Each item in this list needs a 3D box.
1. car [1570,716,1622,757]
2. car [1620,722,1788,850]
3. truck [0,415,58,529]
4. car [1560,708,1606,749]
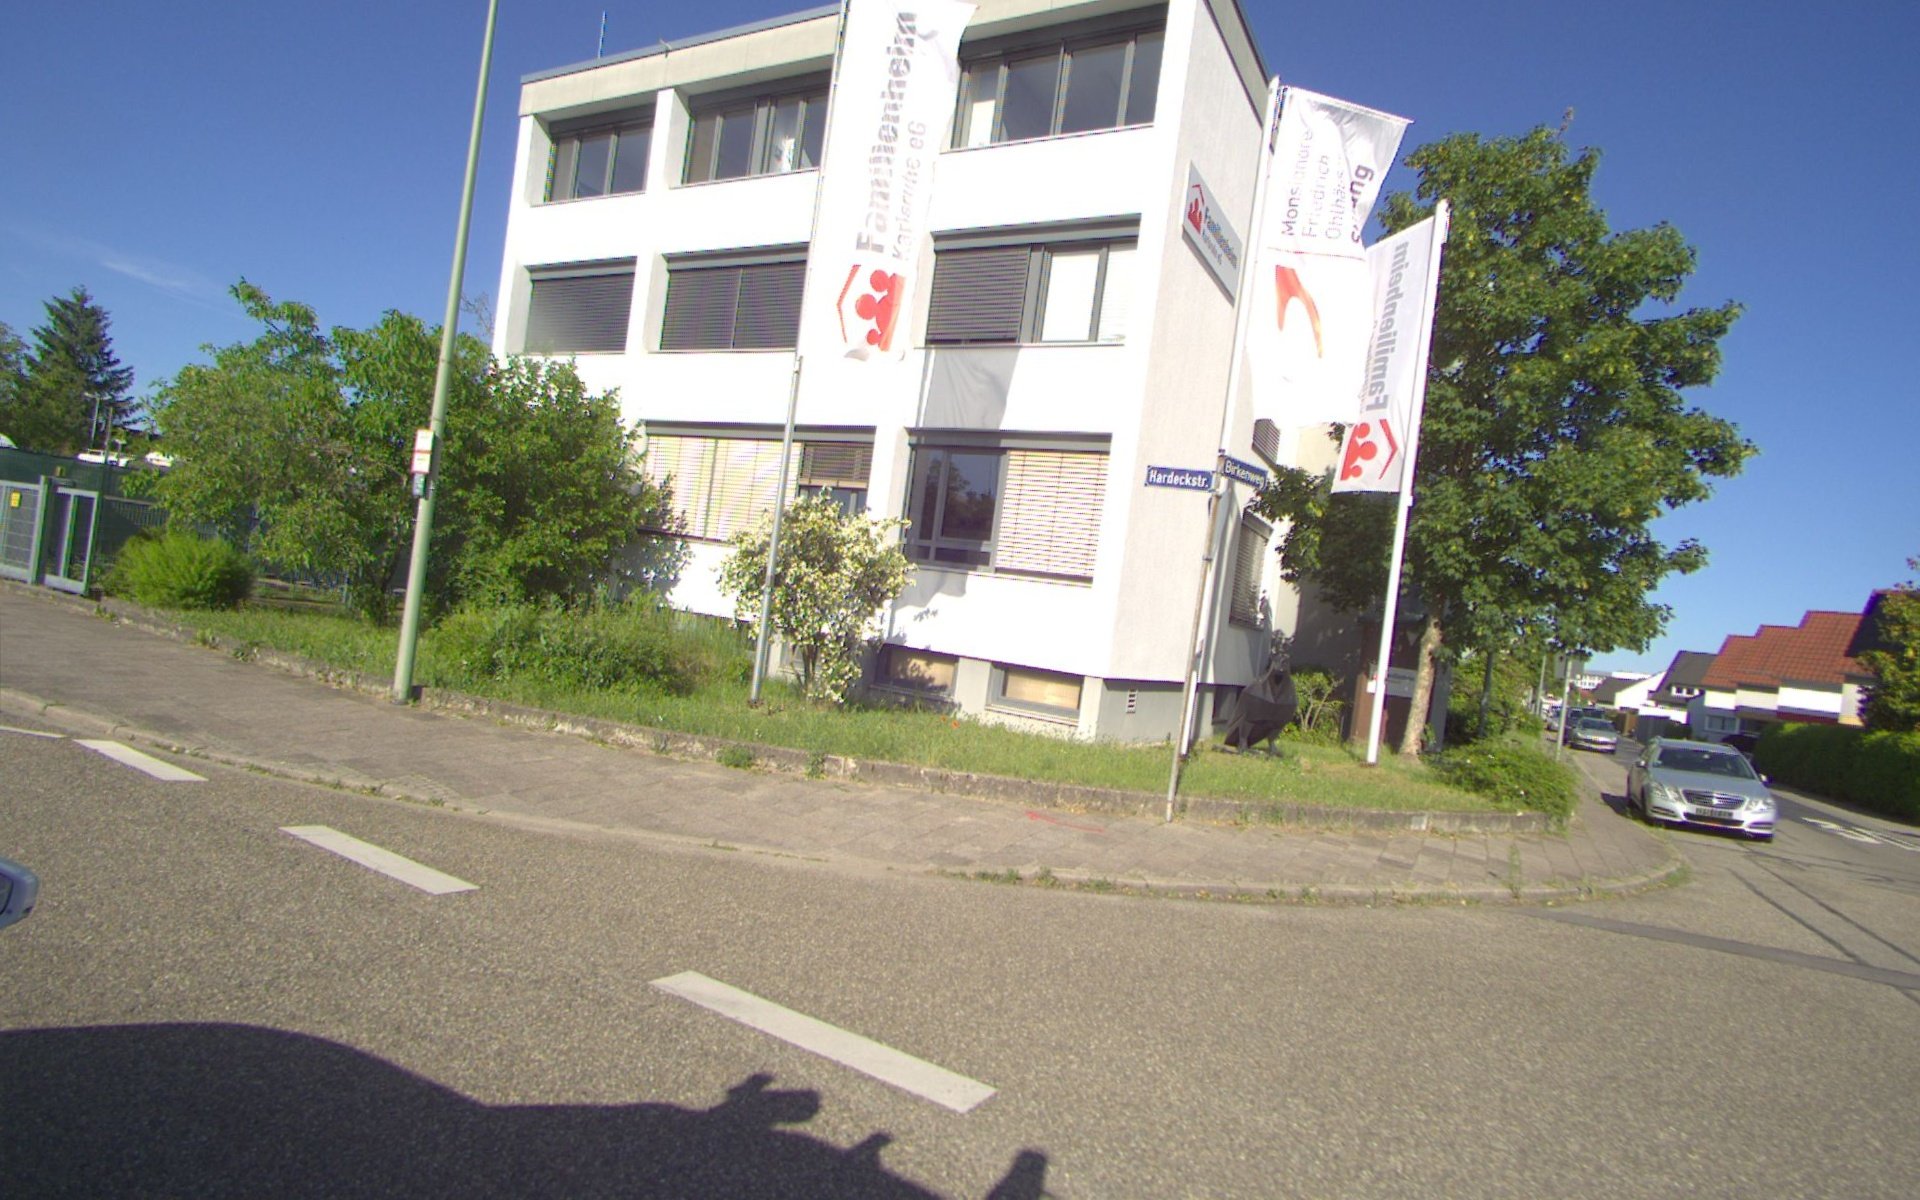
[{"bbox_3d":[28.228,6.037,44.746,1.623,1.429,3.744,8,-1,30],"label":"car"},{"bbox_3d":[13.310,3.231,18.277,1.770,1.637,4.519,8,-1,30],"label":"car"},{"bbox_3d":[-36.231,-4.978,34.287,2.783,3.815,7.395,8,-1,26],"label":"truck"},{"bbox_3d":[31.660,6.513,51.192,1.623,1.738,3.744,8,-1,30],"label":"car"}]
